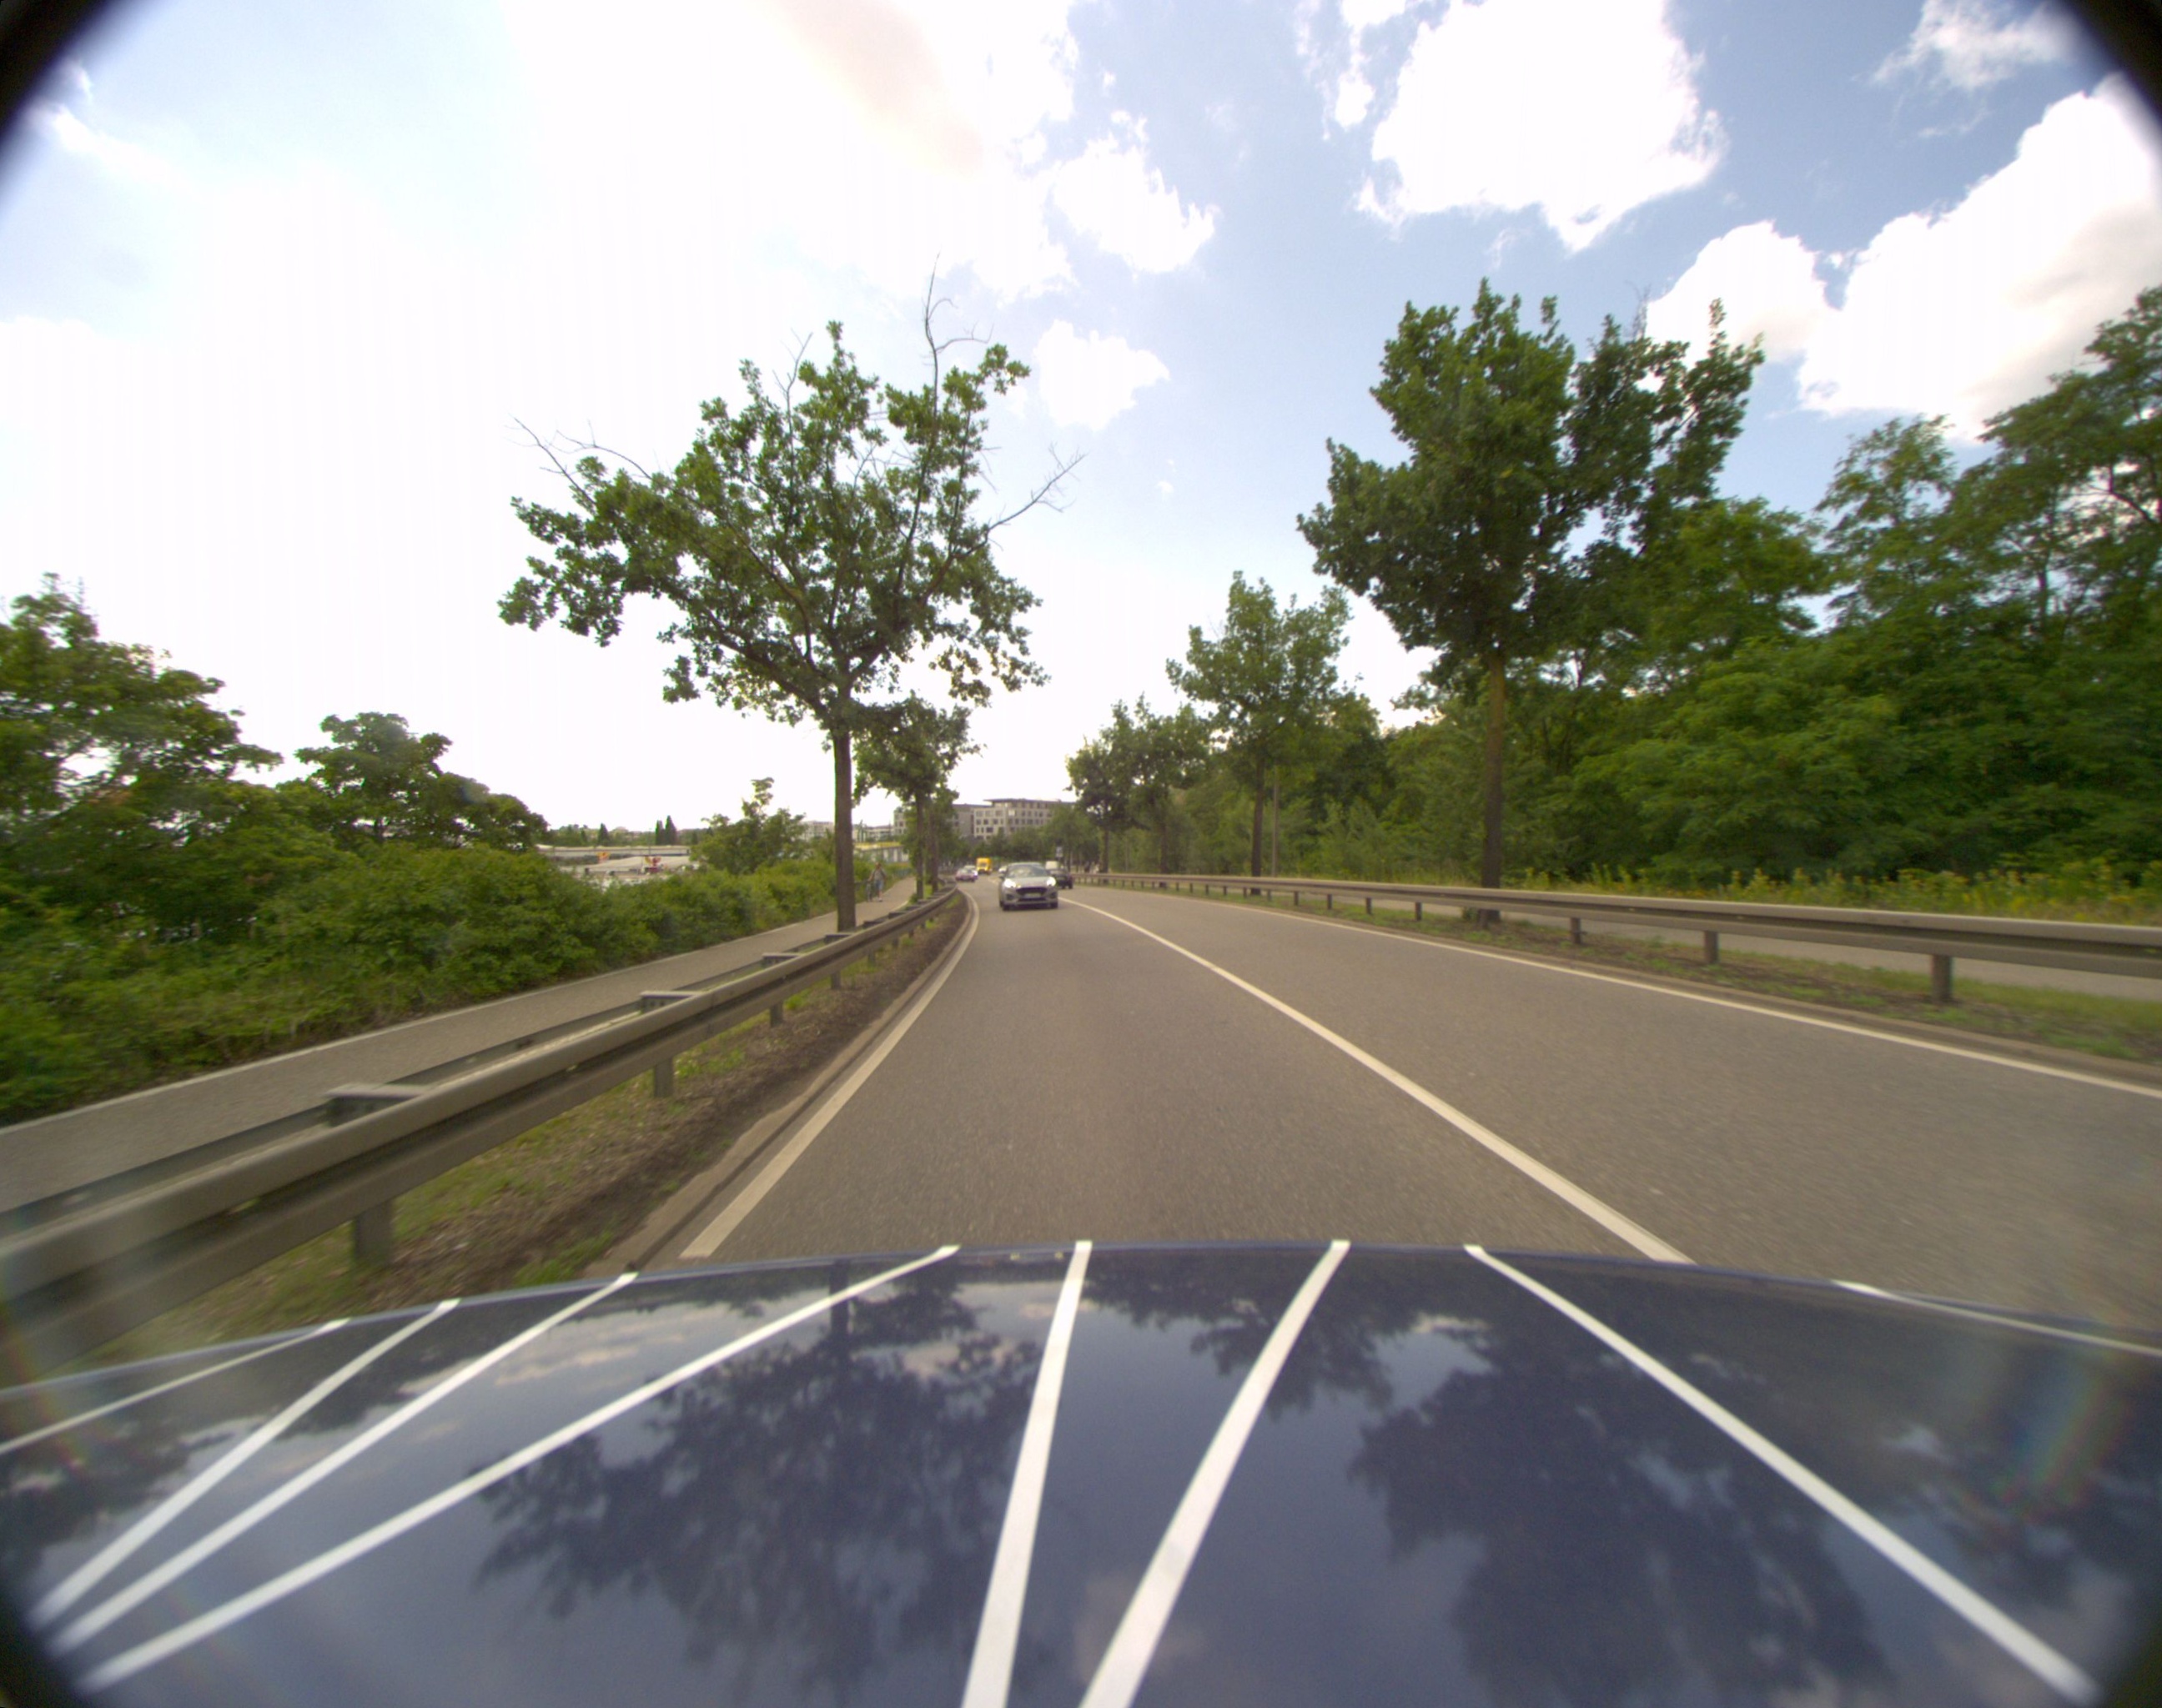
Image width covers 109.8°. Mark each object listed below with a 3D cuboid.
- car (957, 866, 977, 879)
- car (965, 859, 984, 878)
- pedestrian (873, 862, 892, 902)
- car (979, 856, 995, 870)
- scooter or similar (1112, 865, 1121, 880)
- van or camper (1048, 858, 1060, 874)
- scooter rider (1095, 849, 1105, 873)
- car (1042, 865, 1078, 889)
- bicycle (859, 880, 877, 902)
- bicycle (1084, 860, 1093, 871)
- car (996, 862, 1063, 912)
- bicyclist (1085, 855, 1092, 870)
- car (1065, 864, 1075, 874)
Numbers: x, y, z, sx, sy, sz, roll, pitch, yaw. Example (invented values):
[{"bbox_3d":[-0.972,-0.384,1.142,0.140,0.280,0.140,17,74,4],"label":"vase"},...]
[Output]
[{"bbox_3d":[-10.960,1.767,72.749,1.849,1.201,3.997,1,-1,-9],"label":"car"},{"bbox_3d":[-12.718,1.709,90.611,2.000,2.002,3.996,2,0,-10],"label":"car"},{"bbox_3d":[-8.294,1.142,31.752,0.659,1.632,1.054,0,0,-10],"label":"pedestrian"},{"bbox_3d":[-15.929,1.449,129.451,1.998,2.306,4.887,-2,0,1],"label":"car"},{"bbox_3d":[2.939,1.531,63.068,0.637,1.200,0.558,0,-1,-12],"label":"scooter or similar"},{"bbox_3d":[-4.495,2.034,126.695,1.999,2.566,5.981,0,-1,-3],"label":"van or camper"},{"bbox_3d":[1.463,0.557,59.086,0.664,1.845,0.619,0,0,-11],"label":"scooter rider"},{"bbox_3d":[-1.265,1.298,44.381,1.597,1.211,3.788,-3,0,-8],"label":"car"},{"bbox_3d":[-8.845,1.537,31.578,0.558,0.864,1.824,0,-1,-10],"label":"bicycle"},{"bbox_3d":[0.764,1.145,77.188,0.558,1.057,1.752,0,0,-10],"label":"bicycle"},{"bbox_3d":[-1.832,1.071,25.927,1.829,1.515,3.997,-2,-1,-10],"label":"car"},{"bbox_3d":[0.761,0.885,77.219,0.486,1.543,0.880,0,0,-10],"label":"bicyclist"},{"bbox_3d":[-2.007,2.736,141.721,1.780,1.856,5.268,0,-1,1],"label":"car"}]
